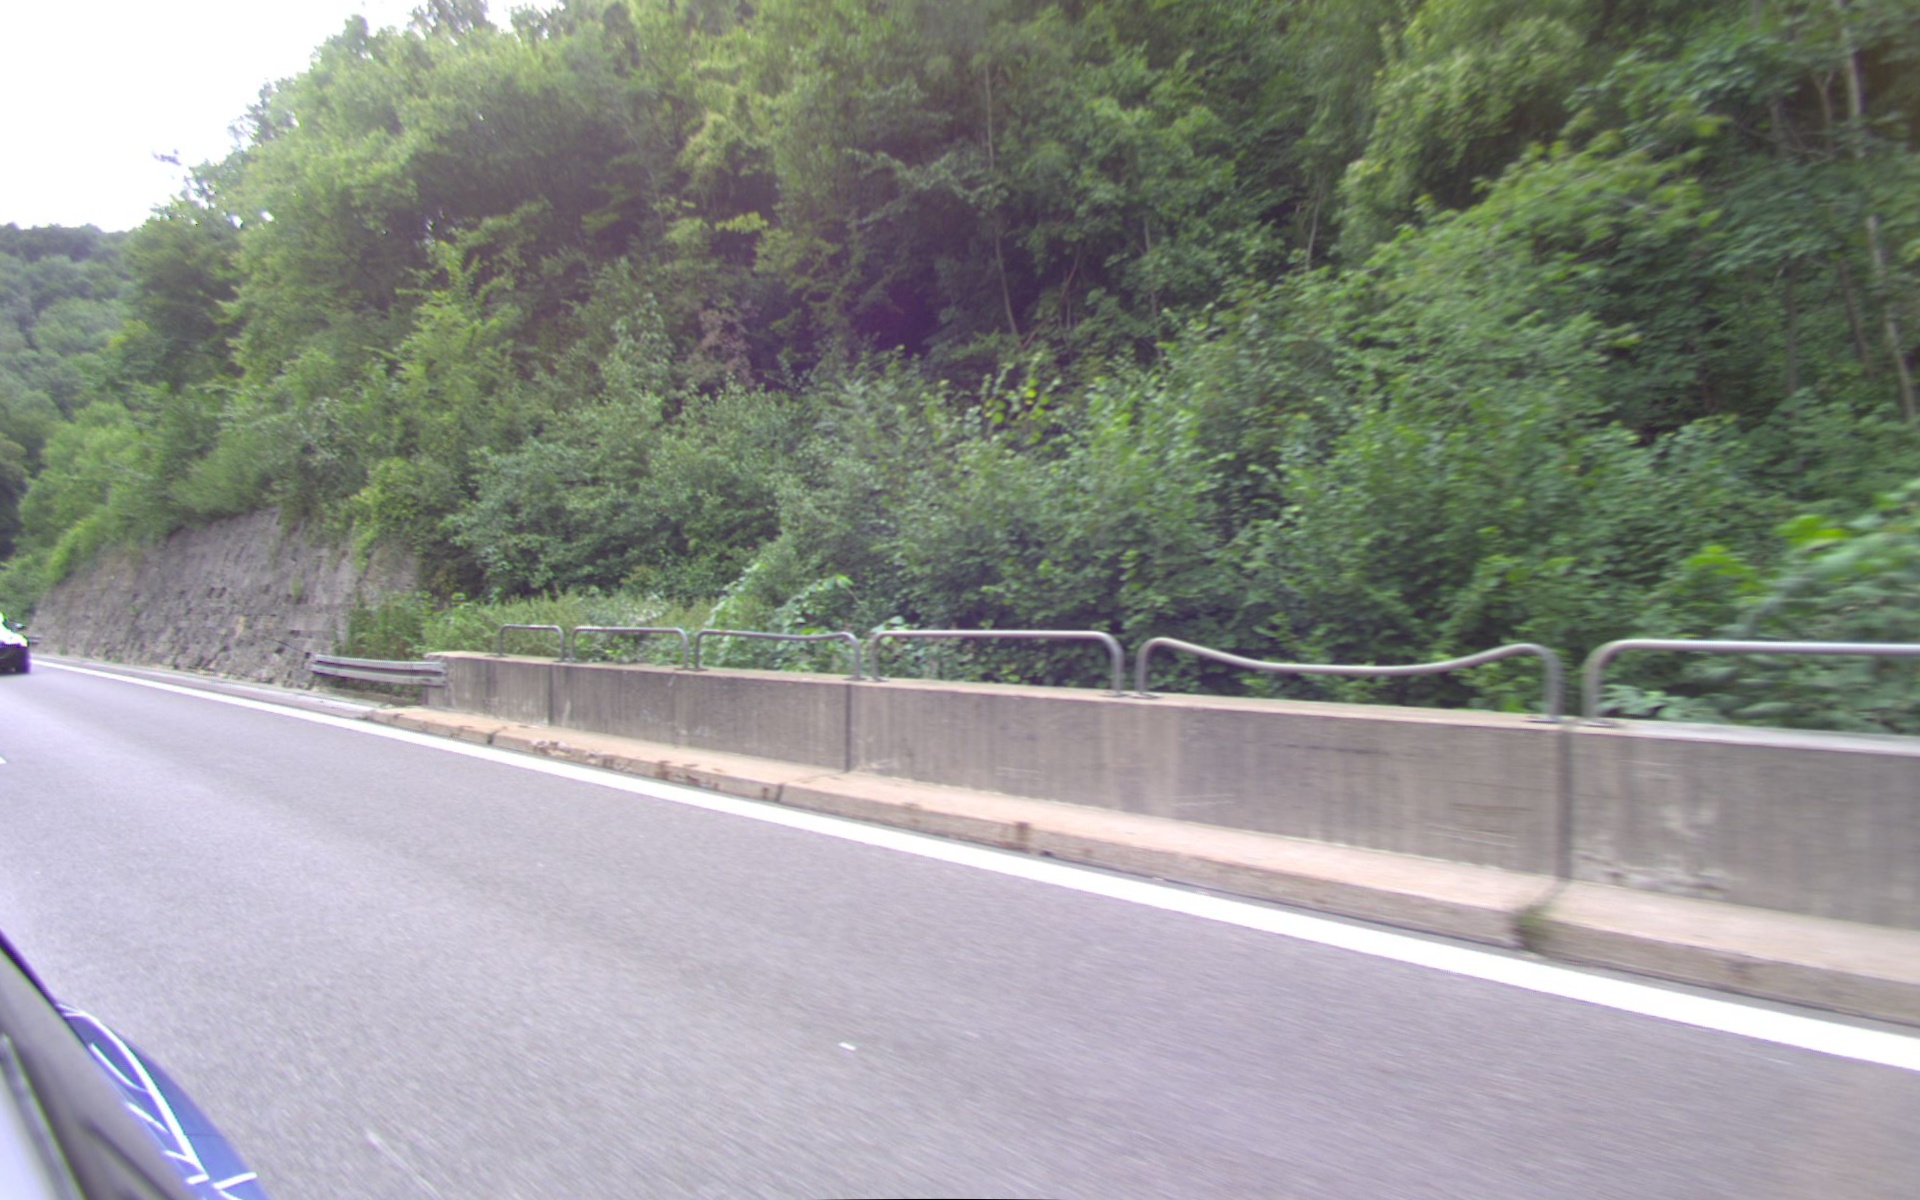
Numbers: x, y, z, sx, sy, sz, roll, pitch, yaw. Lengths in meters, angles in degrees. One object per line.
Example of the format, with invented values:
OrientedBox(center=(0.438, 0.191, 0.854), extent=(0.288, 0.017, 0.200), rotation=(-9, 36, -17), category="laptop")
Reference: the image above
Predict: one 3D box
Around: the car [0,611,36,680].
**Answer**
OrientedBox(center=(-25.480, 1.173, 26.023), extent=(5.006, 1.644, 1.973), rotation=(-1, 1, 41), category="car")
